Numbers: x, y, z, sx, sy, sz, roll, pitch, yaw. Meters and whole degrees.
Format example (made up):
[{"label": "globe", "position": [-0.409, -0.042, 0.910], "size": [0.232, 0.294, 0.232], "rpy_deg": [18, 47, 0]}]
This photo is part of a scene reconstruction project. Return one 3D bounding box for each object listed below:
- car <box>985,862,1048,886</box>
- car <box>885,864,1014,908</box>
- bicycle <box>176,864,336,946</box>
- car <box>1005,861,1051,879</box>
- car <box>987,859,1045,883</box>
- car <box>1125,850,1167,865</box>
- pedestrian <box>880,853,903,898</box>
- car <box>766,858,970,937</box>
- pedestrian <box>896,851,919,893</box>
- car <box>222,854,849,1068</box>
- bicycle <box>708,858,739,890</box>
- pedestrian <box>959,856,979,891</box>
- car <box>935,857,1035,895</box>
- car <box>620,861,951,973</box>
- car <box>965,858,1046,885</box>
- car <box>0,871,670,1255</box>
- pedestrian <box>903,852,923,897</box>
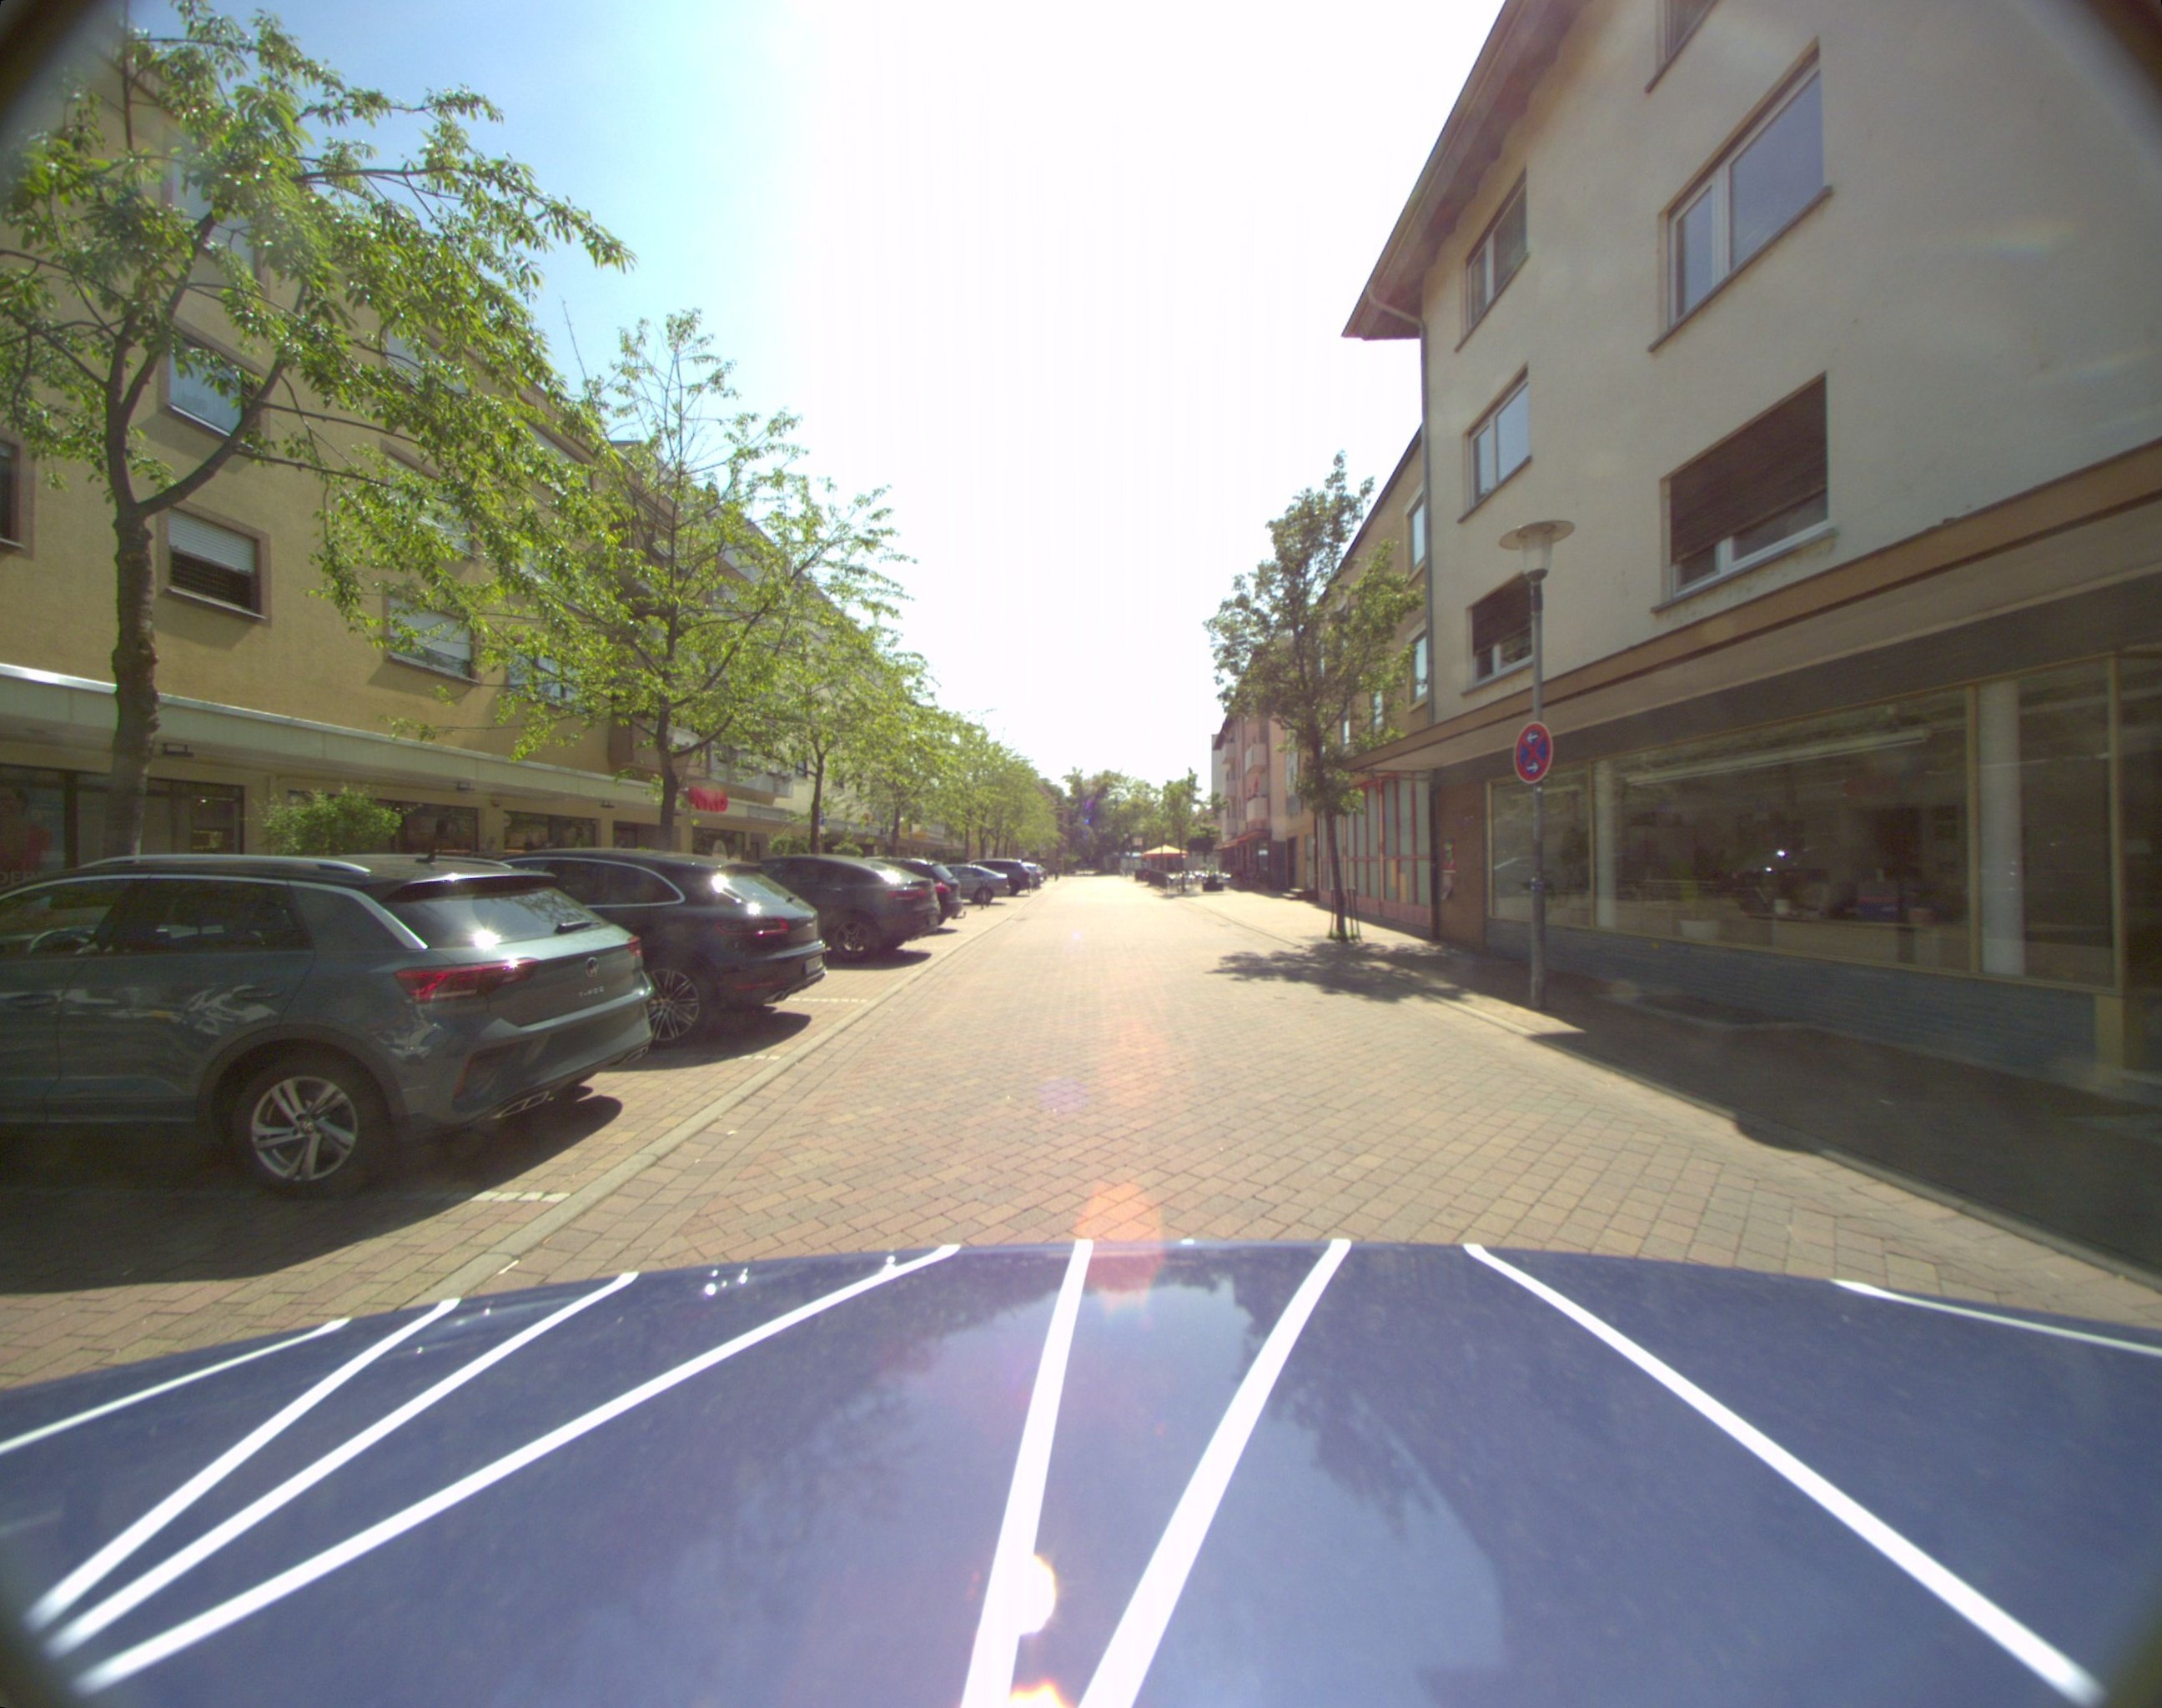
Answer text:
[{"label": "car", "position": [-4.010, 1.238, 47.910], "size": [3.800, 1.423, 1.614], "rpy_deg": [1, 0, 1]}, {"label": "car", "position": [-4.841, 1.126, 27.802], "size": [4.391, 1.455, 1.887], "rpy_deg": [0, 0, -20]}, {"label": "bicycle", "position": [-12.546, 0.731, 11.646], "size": [0.413, 1.117, 1.774], "rpy_deg": [-2, 1, 2]}, {"label": "car", "position": [-4.044, 1.214, 58.018], "size": [3.401, 1.382, 1.460], "rpy_deg": [1, 0, 1]}, {"label": "car", "position": [-4.301, 1.127, 50.473], "size": [3.652, 1.508, 1.633], "rpy_deg": [1, 0, 1]}, {"label": "car", "position": [6.900, 0.409, 80.477], "size": [4.334, 1.459, 1.778], "rpy_deg": [-1, 0, 7]}, {"label": "pedestrian", "position": [-7.532, 0.836, 30.148], "size": [0.633, 1.763, 0.685], "rpy_deg": [-1, 0, -37]}, {"label": "car", "position": [-4.641, 0.931, 16.957], "size": [4.037, 1.602, 1.681], "rpy_deg": [1, 0, -1]}, {"label": "pedestrian", "position": [-7.260, 0.733, 31.817], "size": [0.614, 1.721, 0.649], "rpy_deg": [-1, 1, 35]}, {"label": "car", "position": [-4.577, 0.850, 6.982], "size": [4.290, 1.671, 2.000], "rpy_deg": [0, 0, -1]}, {"label": "bicycle", "position": [-12.229, 0.672, 26.041], "size": [0.361, 1.061, 1.314], "rpy_deg": [-2, 1, 2]}, {"label": "pedestrian", "position": [-5.627, 0.969, 38.132], "size": [0.759, 1.770, 0.871], "rpy_deg": [-1, 0, 8]}, {"label": "car", "position": [-4.220, 0.974, 33.940], "size": [4.255, 1.608, 1.756], "rpy_deg": [1, 0, -1]}, {"label": "car", "position": [-4.519, 0.928, 12.082], "size": [4.518, 1.579, 1.851], "rpy_deg": [1, 0, 3]}, {"label": "car", "position": [-4.472, 1.032, 45.365], "size": [4.586, 1.534, 1.807], "rpy_deg": [1, 0, 1]}, {"label": "car", "position": [-4.719, 0.912, 4.131], "size": [3.954, 1.525, 1.824], "rpy_deg": [1, 0, 0]}, {"label": "pedestrian", "position": [-6.783, 0.832, 30.592], "size": [0.607, 1.785, 0.626], "rpy_deg": [-1, 0, -27]}]
